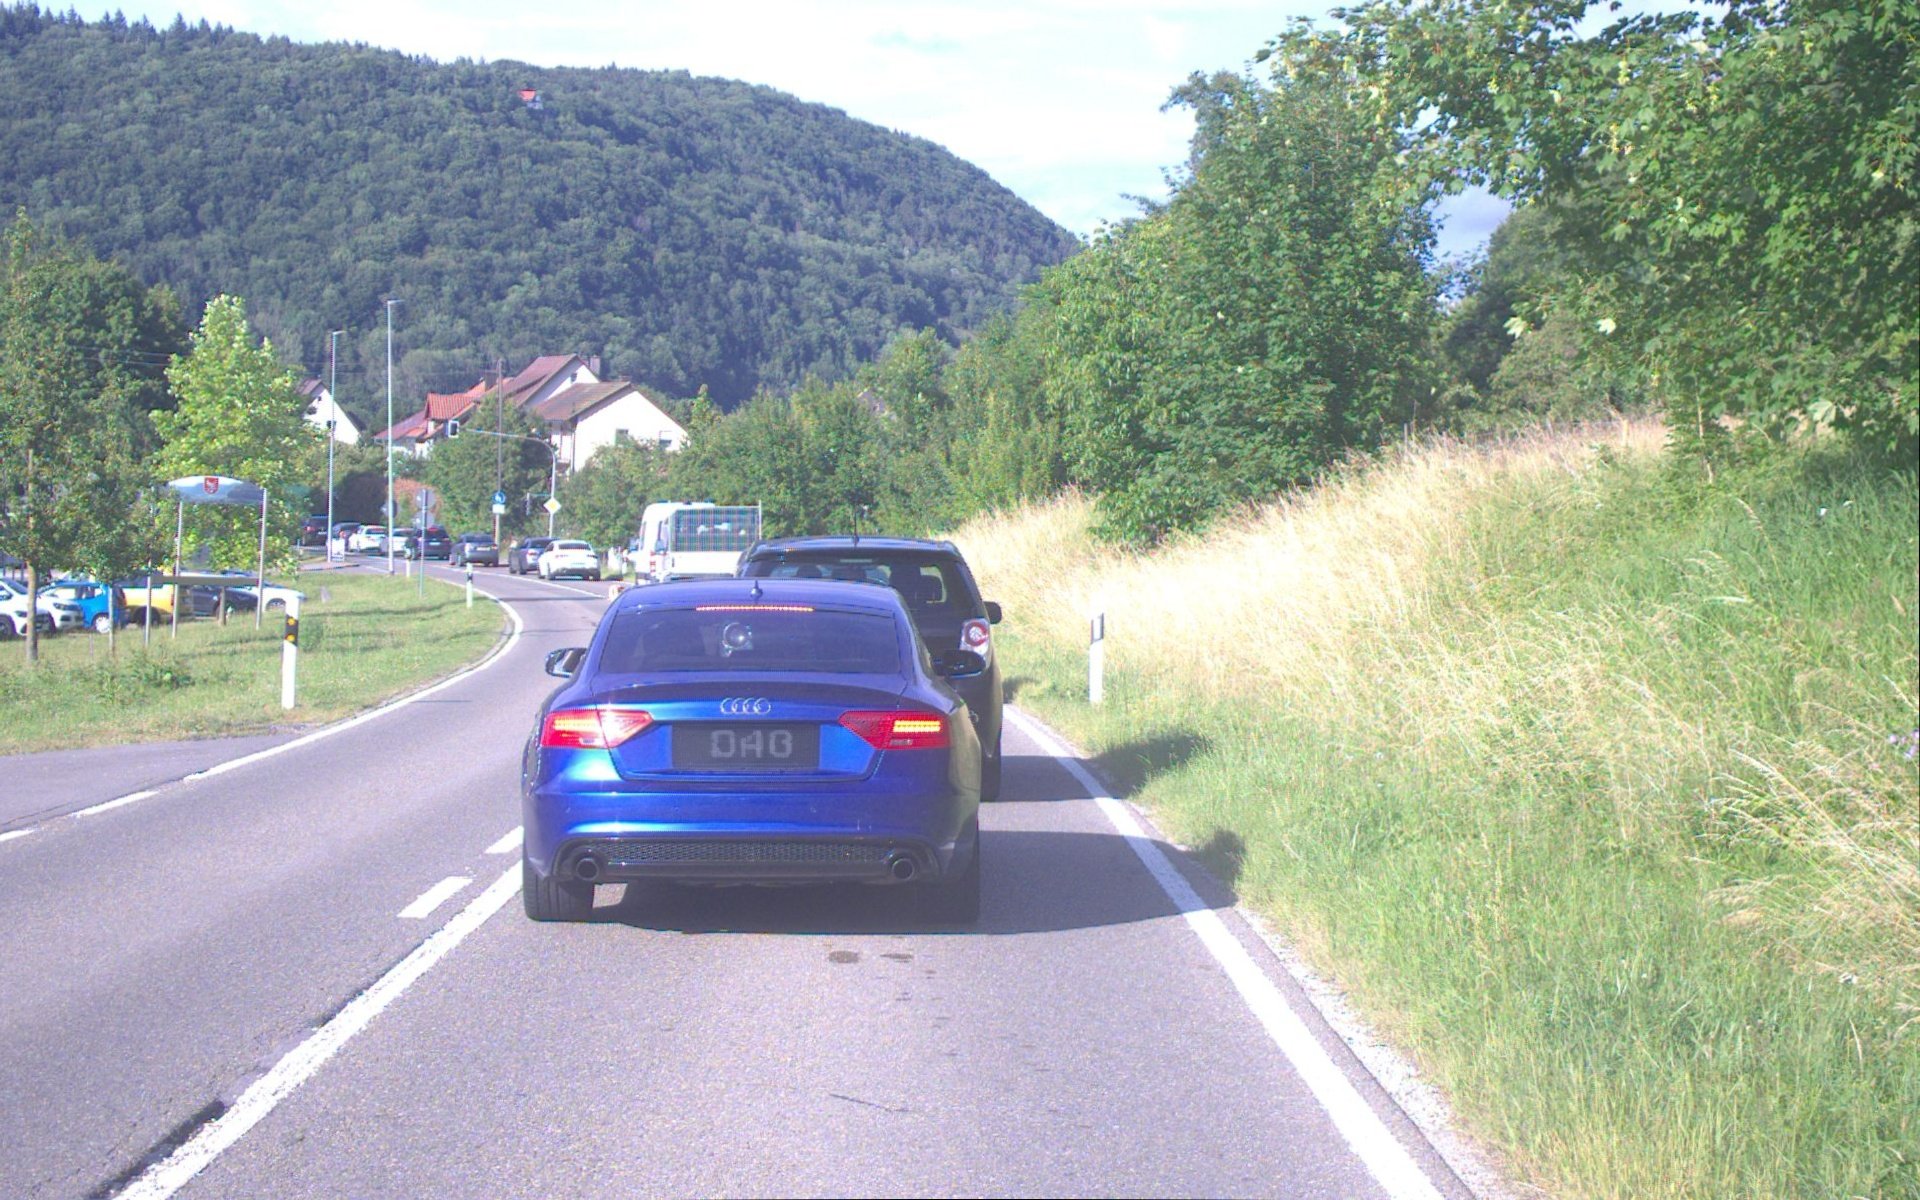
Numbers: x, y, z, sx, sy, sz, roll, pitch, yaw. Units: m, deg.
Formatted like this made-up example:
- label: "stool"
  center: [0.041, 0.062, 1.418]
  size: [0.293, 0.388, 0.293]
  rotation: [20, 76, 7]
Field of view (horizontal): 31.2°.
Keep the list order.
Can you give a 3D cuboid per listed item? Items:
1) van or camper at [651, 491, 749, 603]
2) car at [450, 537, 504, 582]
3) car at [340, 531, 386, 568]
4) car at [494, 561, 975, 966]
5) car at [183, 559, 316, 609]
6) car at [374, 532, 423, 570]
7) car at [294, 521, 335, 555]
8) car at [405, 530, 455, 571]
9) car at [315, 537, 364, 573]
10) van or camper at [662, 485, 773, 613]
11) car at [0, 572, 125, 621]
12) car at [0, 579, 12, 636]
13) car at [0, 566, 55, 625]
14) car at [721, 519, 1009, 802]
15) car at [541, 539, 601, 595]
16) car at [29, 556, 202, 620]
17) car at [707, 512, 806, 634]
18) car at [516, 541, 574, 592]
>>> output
- label: "van or camper"
  center: [-6.684, -1.343, 87.826]
  size: [2.280, 2.704, 5.768]
  rotation: [2, 1, -6]
- label: "car"
  center: [-21.321, -1.781, 151.666]
  size: [1.659, 1.918, 4.001]
  rotation: [-1, 1, -18]
- label: "car"
  center: [-31.686, -2.657, 182.481]
  size: [1.676, 1.918, 4.001]
  rotation: [-1, 1, -20]
- label: "car"
  center: [-0.830, 0.584, 14.465]
  size: [1.742, 1.445, 3.517]
  rotation: [1, 1, 0]
- label: "car"
  center: [-23.792, -0.542, 115.195]
  size: [4.036, 1.655, 1.655]
  rotation: [0, 1, 5]
- label: "car"
  center: [-28.512, -2.488, 174.472]
  size: [1.676, 1.918, 4.001]
  rotation: [-1, 1, -20]
- label: "car"
  center: [-37.208, -3.587, 198.092]
  size: [1.676, 1.918, 4.001]
  rotation: [-1, 1, -20]
- label: "car"
  center: [-25.588, -2.384, 165.981]
  size: [1.676, 1.918, 4.001]
  rotation: [-1, 1, -19]
- label: "car"
  center: [-34.390, -2.480, 190.532]
  size: [1.954, 1.918, 4.001]
  rotation: [-1, 1, -20]
- label: "van or camper"
  center: [-5.005, -1.040, 70.322]
  size: [2.051, 2.497, 5.812]
  rotation: [-1, 1, -6]
- label: "car"
  center: [-25.664, -0.105, 97.970]
  size: [3.369, 1.369, 1.660]
  rotation: [-1, 1, -3]
- label: "car"
  center: [-25.631, 0.195, 85.535]
  size: [3.625, 1.400, 1.596]
  rotation: [0, -2, 5]
- label: "car"
  center: [-25.406, -0.115, 88.695]
  size: [3.666, 1.488, 1.596]
  rotation: [0, 1, 5]
- label: "car"
  center: [-0.644, 0.330, 21.886]
  size: [1.645, 1.619, 3.517]
  rotation: [1, 1, -3]
- label: "car"
  center: [-13.864, -1.177, 122.318]
  size: [1.659, 1.918, 4.001]
  rotation: [-1, 1, -13]
- label: "car"
  center: [-24.684, -0.368, 100.534]
  size: [4.554, 1.808, 1.841]
  rotation: [0, 1, 5]
- label: "car"
  center: [-3.530, -0.490, 59.227]
  size: [1.567, 2.007, 4.001]
  rotation: [-1, 1, -5]
- label: "car"
  center: [-16.135, -1.310, 133.474]
  size: [1.659, 1.918, 4.001]
  rotation: [-1, 1, -15]
